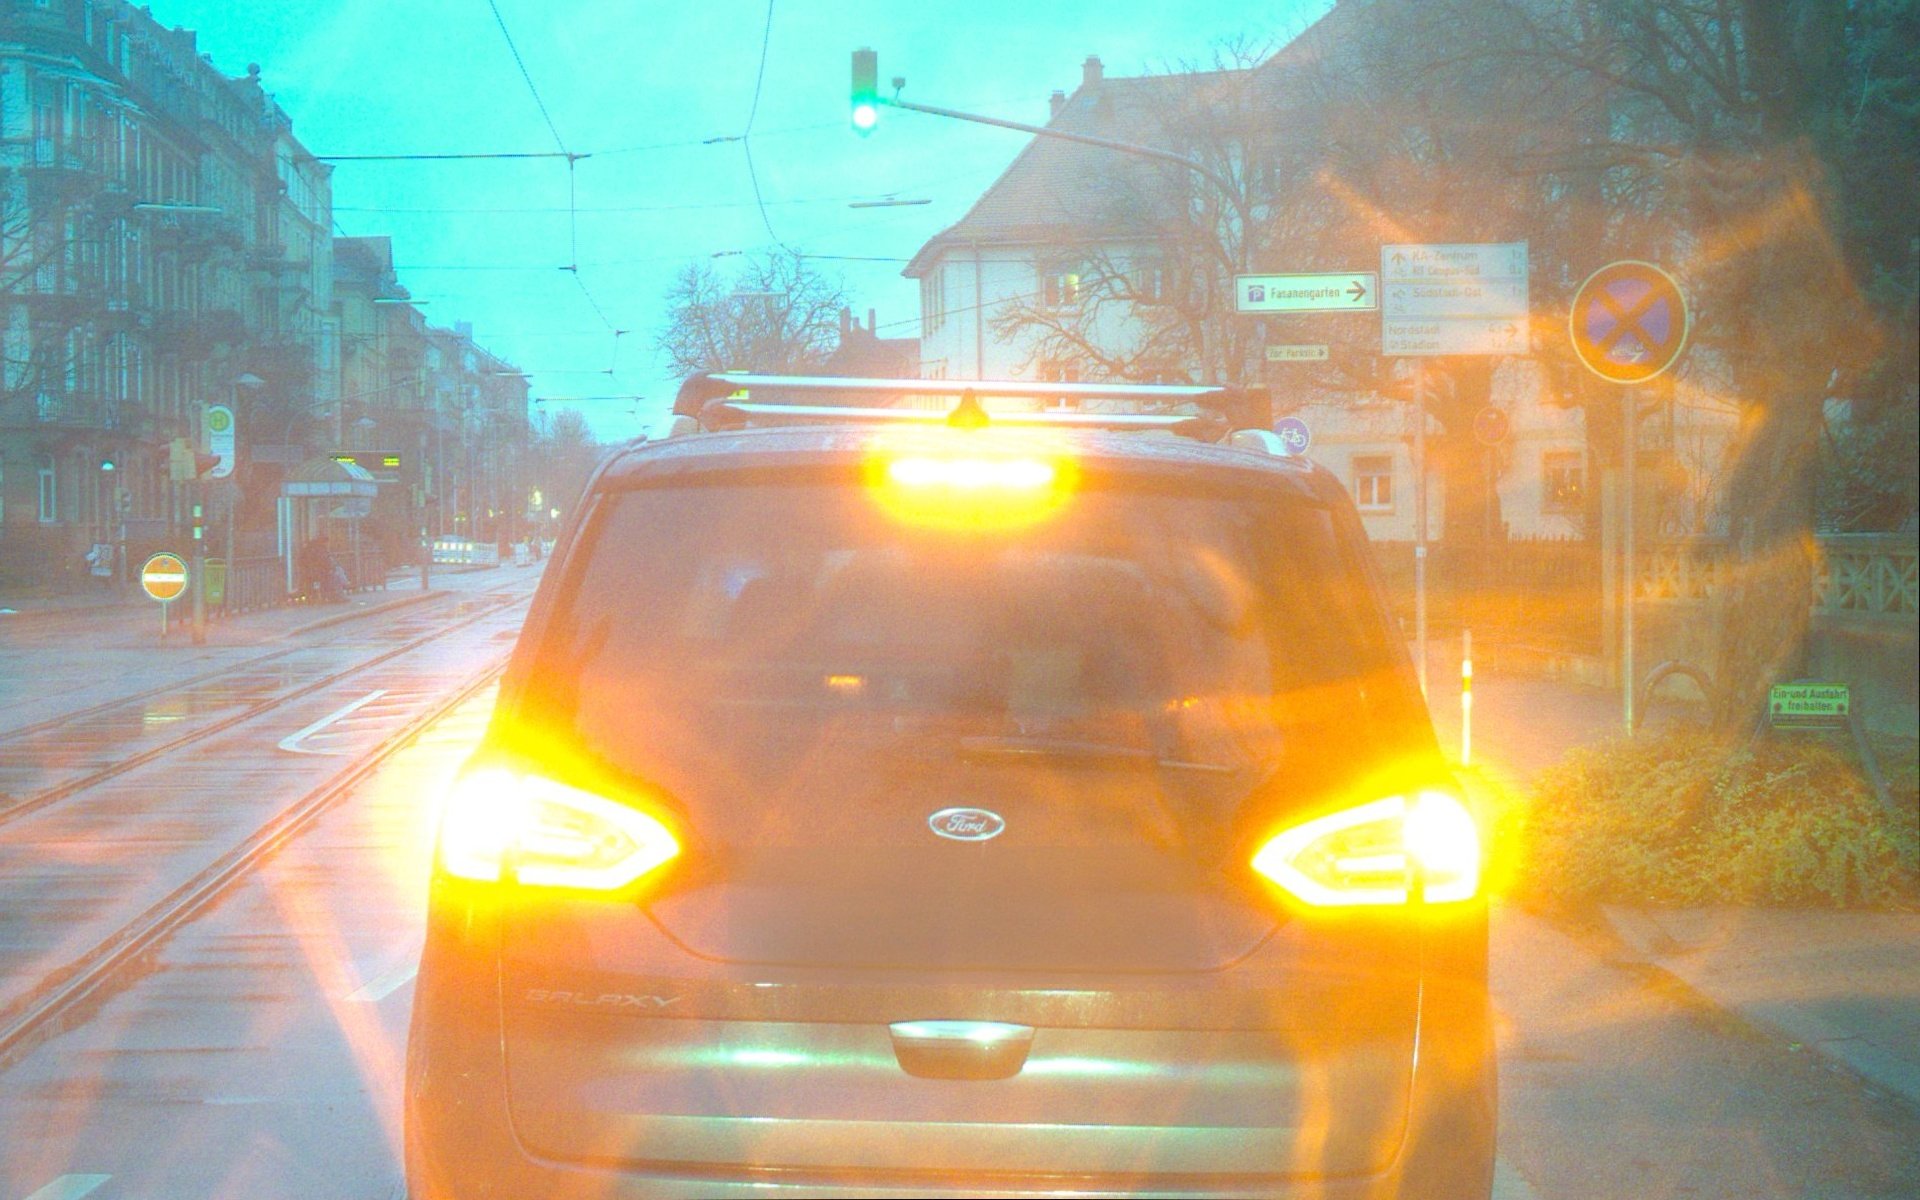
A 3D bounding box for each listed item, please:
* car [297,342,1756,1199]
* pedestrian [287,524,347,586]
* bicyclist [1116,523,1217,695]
[{"bbox_3d":[0.008,0.507,7.359,2.103,1.810,4.661,1,1,-2],"label":"car"},{"bbox_3d":[-12.705,-0.891,67.968,1.047,1.196,0.885,0,0,-3],"label":"pedestrian"},{"bbox_3d":[2.067,0.081,34.515,0.716,1.657,1.057,3,1,-8],"label":"bicyclist"}]
